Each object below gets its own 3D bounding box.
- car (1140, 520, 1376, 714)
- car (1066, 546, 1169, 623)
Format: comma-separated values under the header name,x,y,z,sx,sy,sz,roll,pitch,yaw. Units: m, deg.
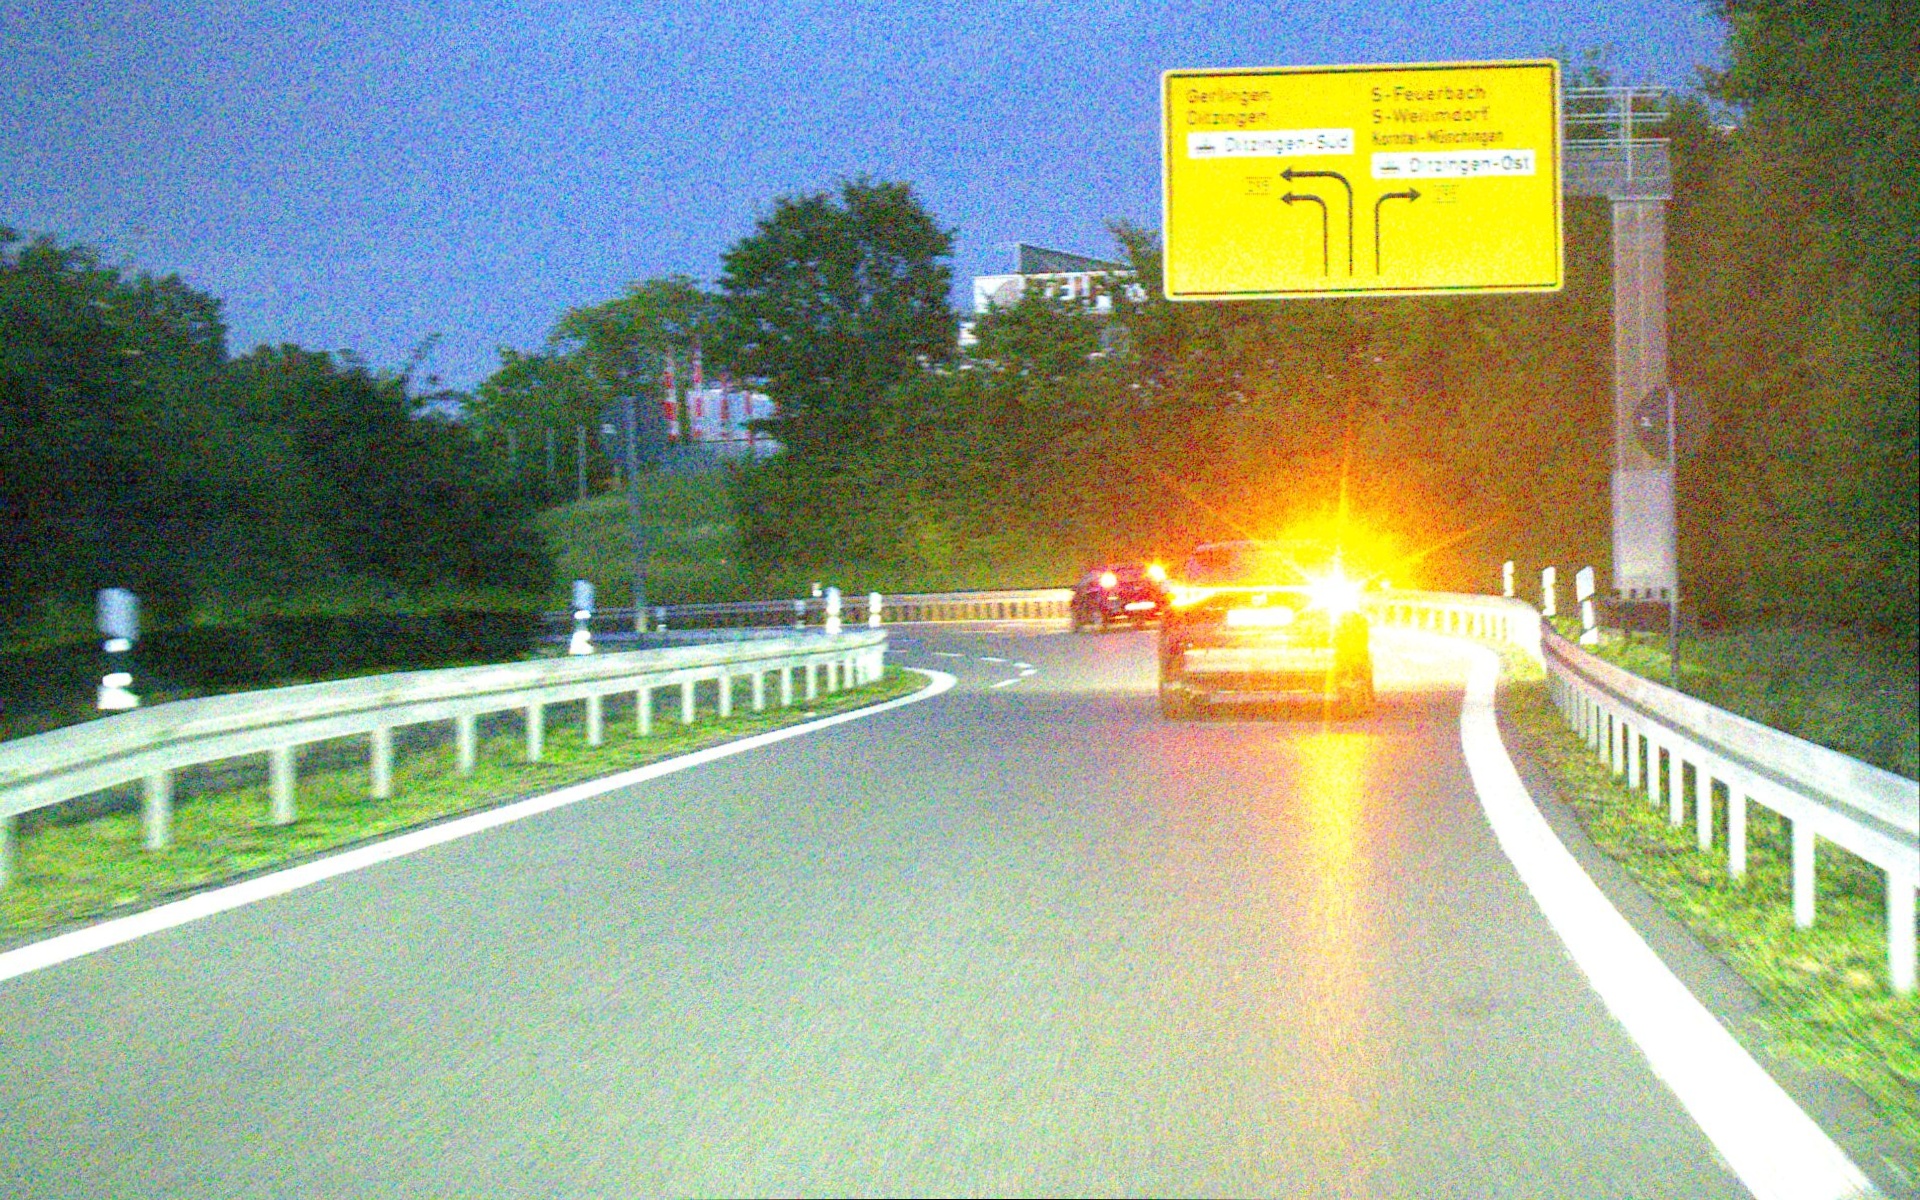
name,x,y,z,sx,sy,sz,roll,pitch,yaw
car,2.815,0.125,31.676,1.994,1.653,4.313,0,1,7
car,3.444,-0.365,75.837,1.993,1.593,4.000,2,1,-1
